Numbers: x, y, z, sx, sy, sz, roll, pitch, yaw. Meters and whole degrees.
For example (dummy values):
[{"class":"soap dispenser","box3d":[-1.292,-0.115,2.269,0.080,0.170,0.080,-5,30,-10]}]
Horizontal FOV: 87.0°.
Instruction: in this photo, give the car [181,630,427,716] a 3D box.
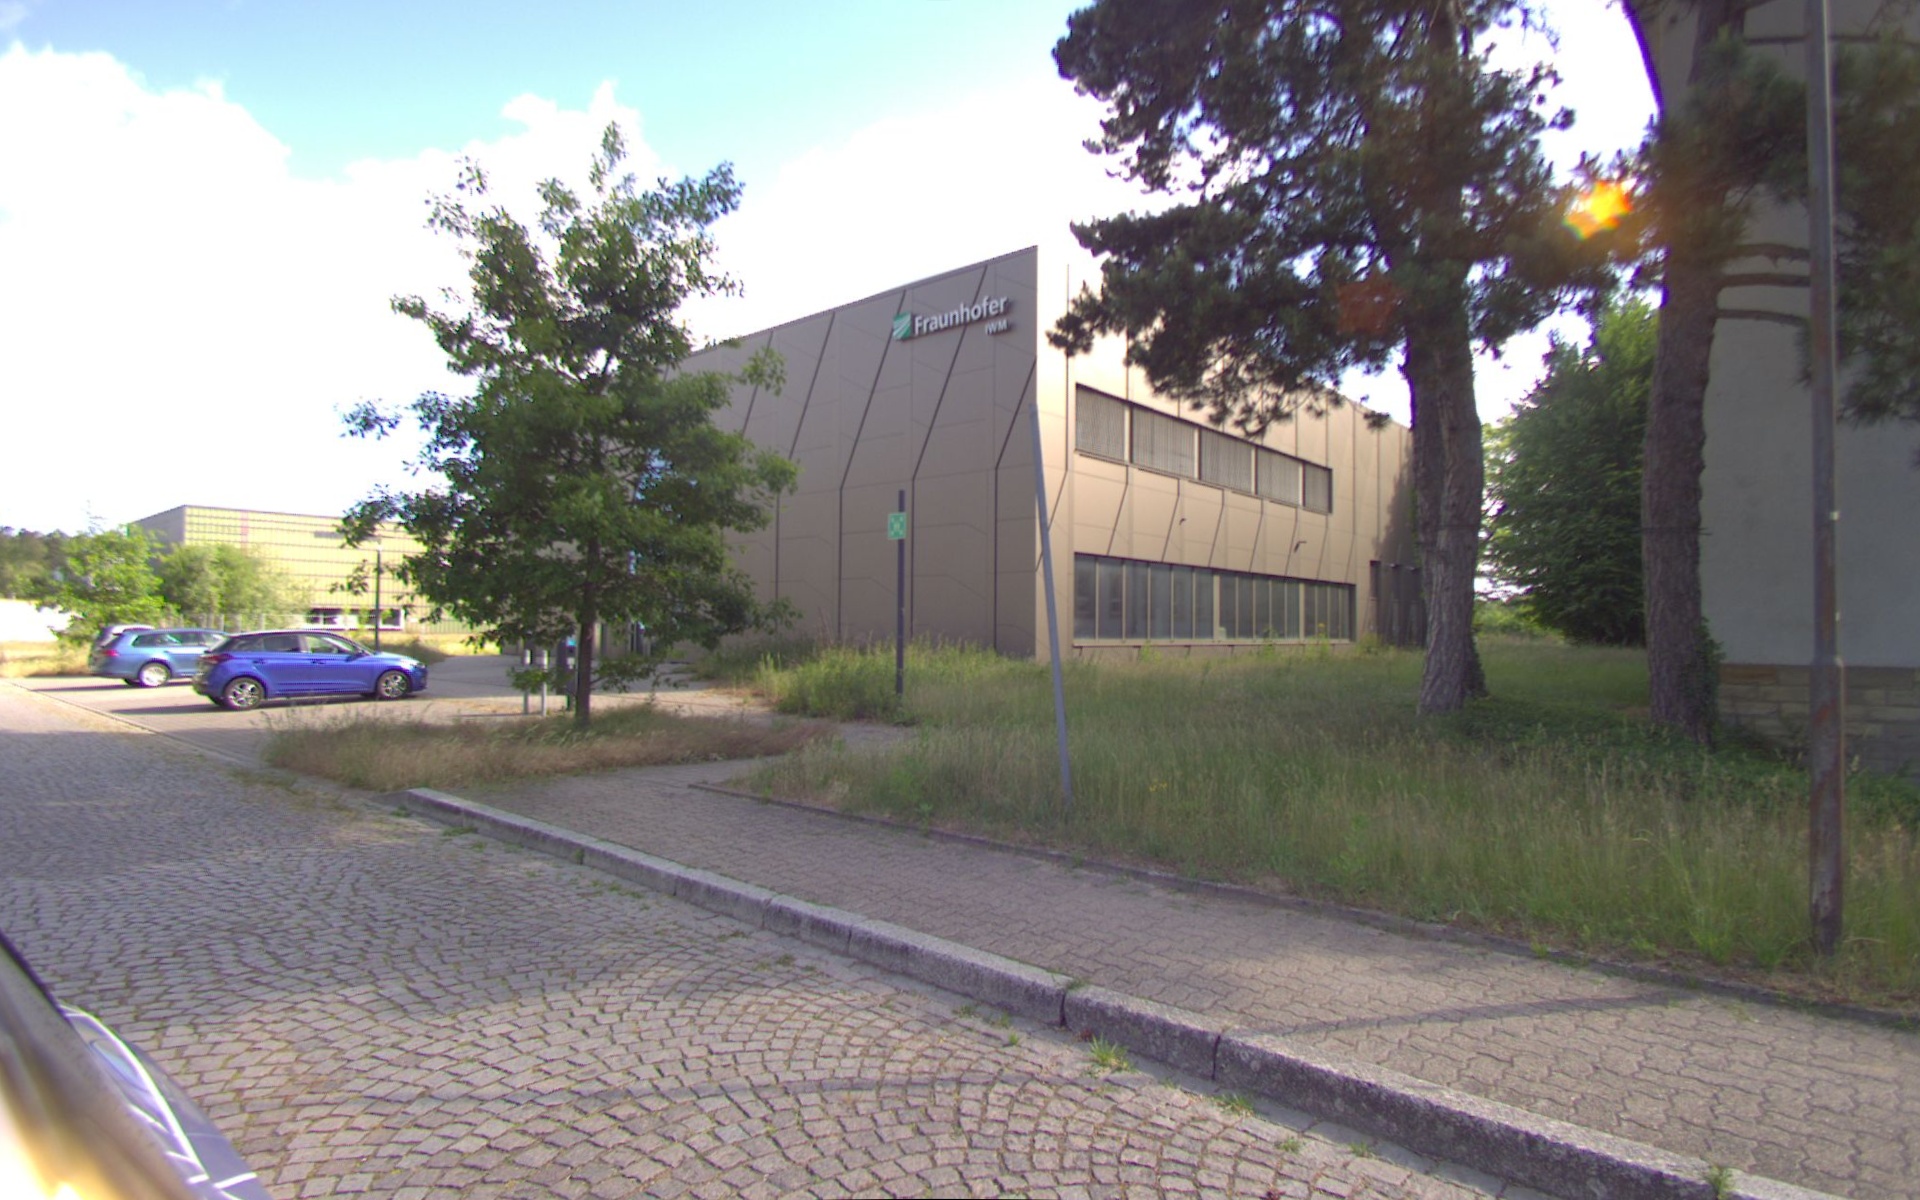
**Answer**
[{"class":"car","box3d":[-13.094,1.384,20.347,1.735,1.479,3.865,-2,-1,44]}]

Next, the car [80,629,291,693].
[{"class":"car","box3d":[-20.216,1.538,26.573,1.733,1.485,4.127,-1,-1,39]}]

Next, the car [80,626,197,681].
[{"class":"car","box3d":[-25.619,1.636,31.602,1.480,1.580,2.619,-1,-1,40]}]
